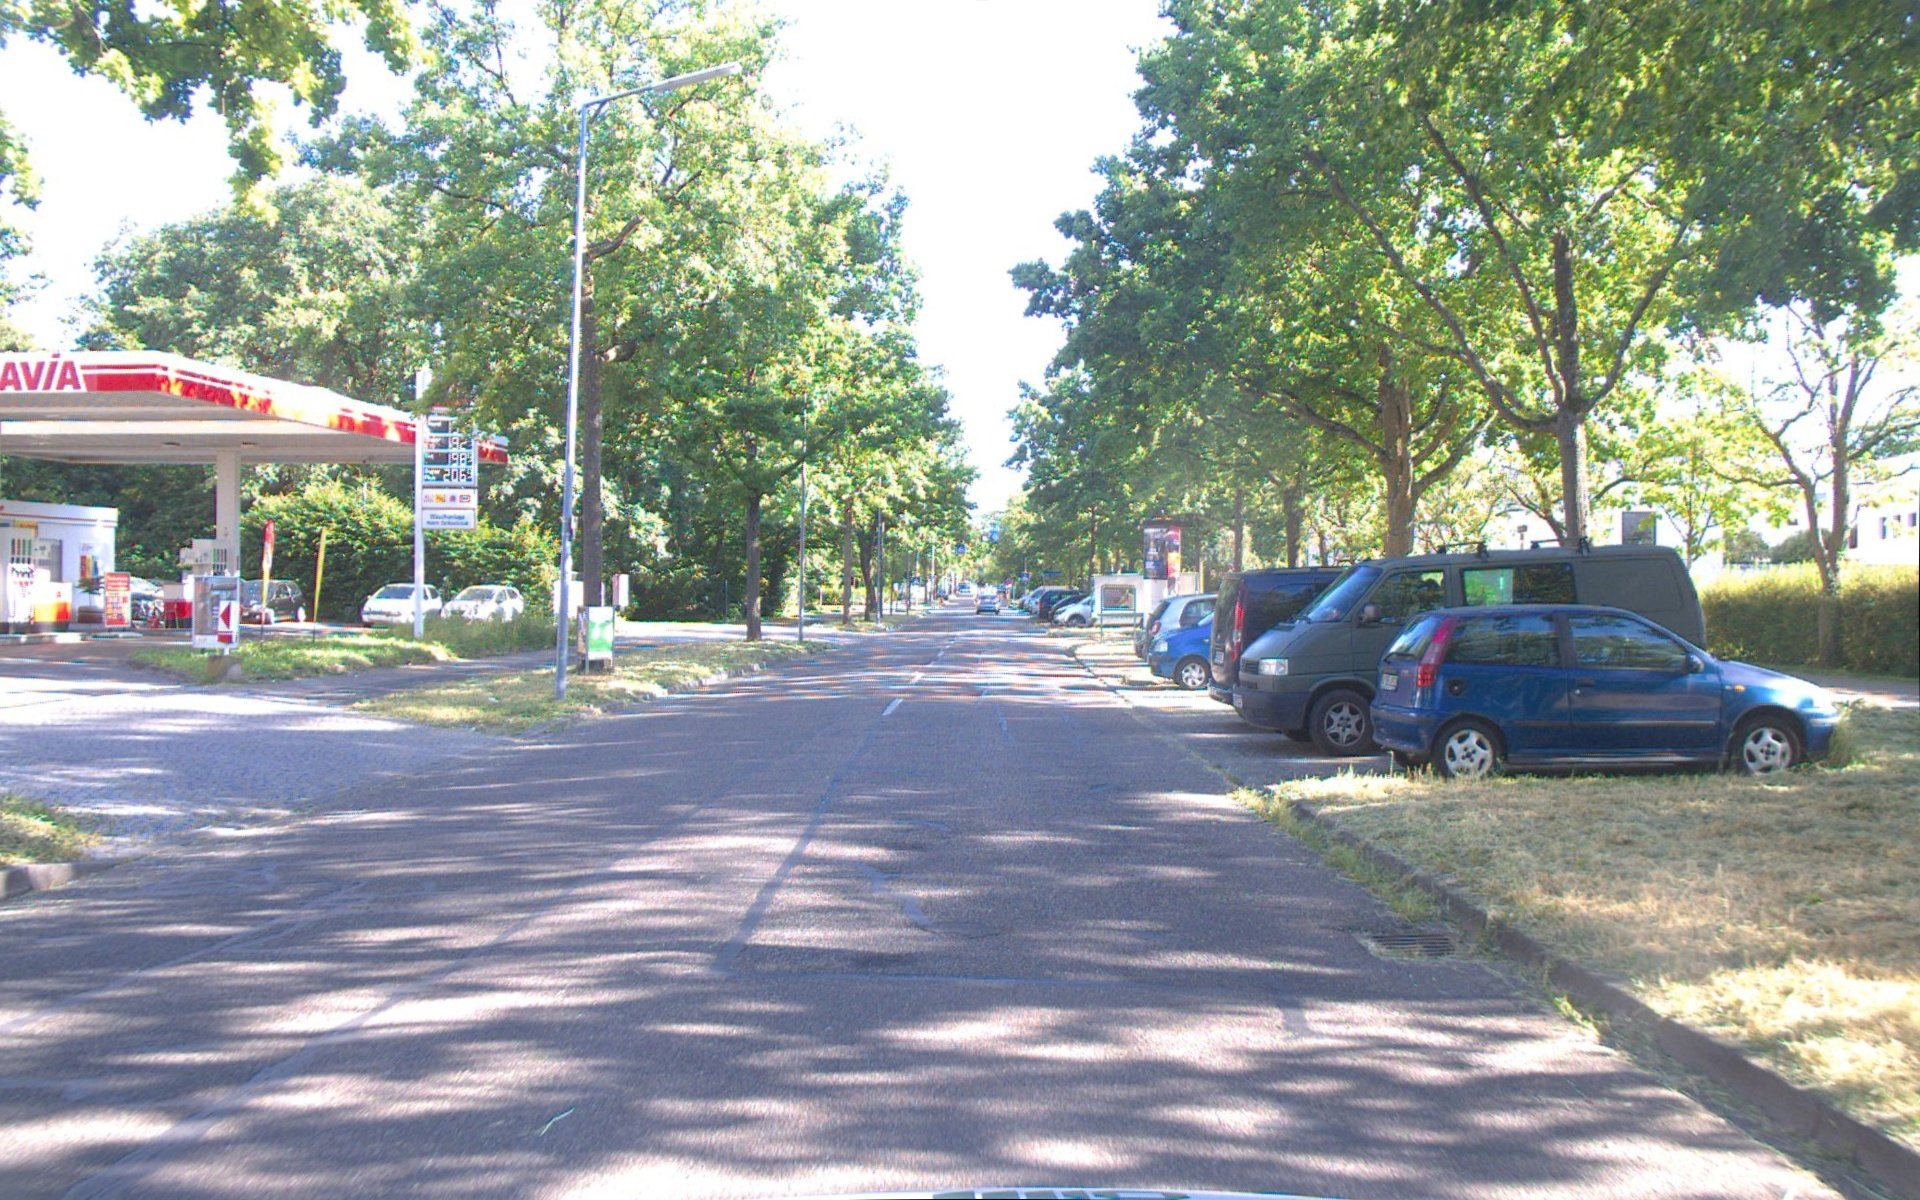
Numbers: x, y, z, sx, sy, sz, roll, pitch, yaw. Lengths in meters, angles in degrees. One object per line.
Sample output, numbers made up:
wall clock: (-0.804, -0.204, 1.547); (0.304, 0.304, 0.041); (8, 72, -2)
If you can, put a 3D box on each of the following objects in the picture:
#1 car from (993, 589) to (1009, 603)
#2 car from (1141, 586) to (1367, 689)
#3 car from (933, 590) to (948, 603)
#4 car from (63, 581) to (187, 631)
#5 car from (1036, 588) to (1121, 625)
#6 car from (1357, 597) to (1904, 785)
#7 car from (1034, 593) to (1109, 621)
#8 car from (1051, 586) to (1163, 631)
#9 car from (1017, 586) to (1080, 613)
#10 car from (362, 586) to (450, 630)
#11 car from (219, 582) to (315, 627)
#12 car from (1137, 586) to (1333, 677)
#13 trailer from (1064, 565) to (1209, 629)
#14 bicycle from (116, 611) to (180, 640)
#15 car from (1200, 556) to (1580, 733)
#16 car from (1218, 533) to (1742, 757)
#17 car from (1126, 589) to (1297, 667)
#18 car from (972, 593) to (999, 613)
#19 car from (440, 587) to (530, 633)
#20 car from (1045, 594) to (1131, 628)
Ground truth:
car: (5.279, -0.511, 213.125); (1.952, 1.746, 4.000); (1, 0, 0)
car: (4.794, 0.605, 27.311); (3.447, 1.559, 1.665); (-1, 0, 2)
car: (-2.577, -0.440, 219.352); (1.952, 1.746, 4.000); (1, 0, 0)
car: (-26.391, 0.185, 52.296); (3.126, 1.425, 1.586); (2, 0, 9)
car: (6.346, 0.343, 88.909); (4.436, 1.832, 1.936); (-1, 0, 1)
car: (5.516, 0.720, 13.959); (3.906, 1.428, 1.739); (-1, 0, 0)
car: (6.967, 0.454, 103.272); (4.574, 1.608, 1.917); (-1, 0, 1)
car: (6.127, 0.357, 69.377); (4.546, 1.752, 1.988); (-2, 0, 2)
car: (7.264, -0.050, 136.309); (5.081, 2.142, 2.082); (0, 0, -1)
car: (-18.332, 0.255, 54.858); (1.392, 1.391, 3.208); (2, 0, 9)
car: (-22.831, 0.152, 54.587); (1.392, 1.391, 3.208); (2, 0, 9)
car: (5.251, 0.591, 31.916); (3.509, 1.604, 1.787); (-1, 0, 2)
trailer: (7.053, -0.106, 66.501); (5.654, 2.358, 1.687); (-2, 0, 3)
bicycle: (-23.335, 0.722, 47.560); (0.604, 0.821, 1.781); (0, 0, 16)
car: (4.935, 0.491, 19.359); (3.928, 1.869, 1.799); (-1, 0, -2)
car: (5.137, 0.430, 16.835); (4.704, 2.067, 1.944); (-1, 0, 0)
car: (5.565, 0.601, 36.909); (3.510, 1.604, 1.857); (-1, 0, 0)
car: (1.892, 0.227, 124.226); (1.953, 1.510, 3.999); (0, 0, -1)
car: (-15.704, 0.315, 54.852); (1.513, 1.447, 3.490); (2, 0, 9)
car: (6.325, 0.533, 82.034); (4.157, 1.545, 2.078); (-1, 0, 2)
